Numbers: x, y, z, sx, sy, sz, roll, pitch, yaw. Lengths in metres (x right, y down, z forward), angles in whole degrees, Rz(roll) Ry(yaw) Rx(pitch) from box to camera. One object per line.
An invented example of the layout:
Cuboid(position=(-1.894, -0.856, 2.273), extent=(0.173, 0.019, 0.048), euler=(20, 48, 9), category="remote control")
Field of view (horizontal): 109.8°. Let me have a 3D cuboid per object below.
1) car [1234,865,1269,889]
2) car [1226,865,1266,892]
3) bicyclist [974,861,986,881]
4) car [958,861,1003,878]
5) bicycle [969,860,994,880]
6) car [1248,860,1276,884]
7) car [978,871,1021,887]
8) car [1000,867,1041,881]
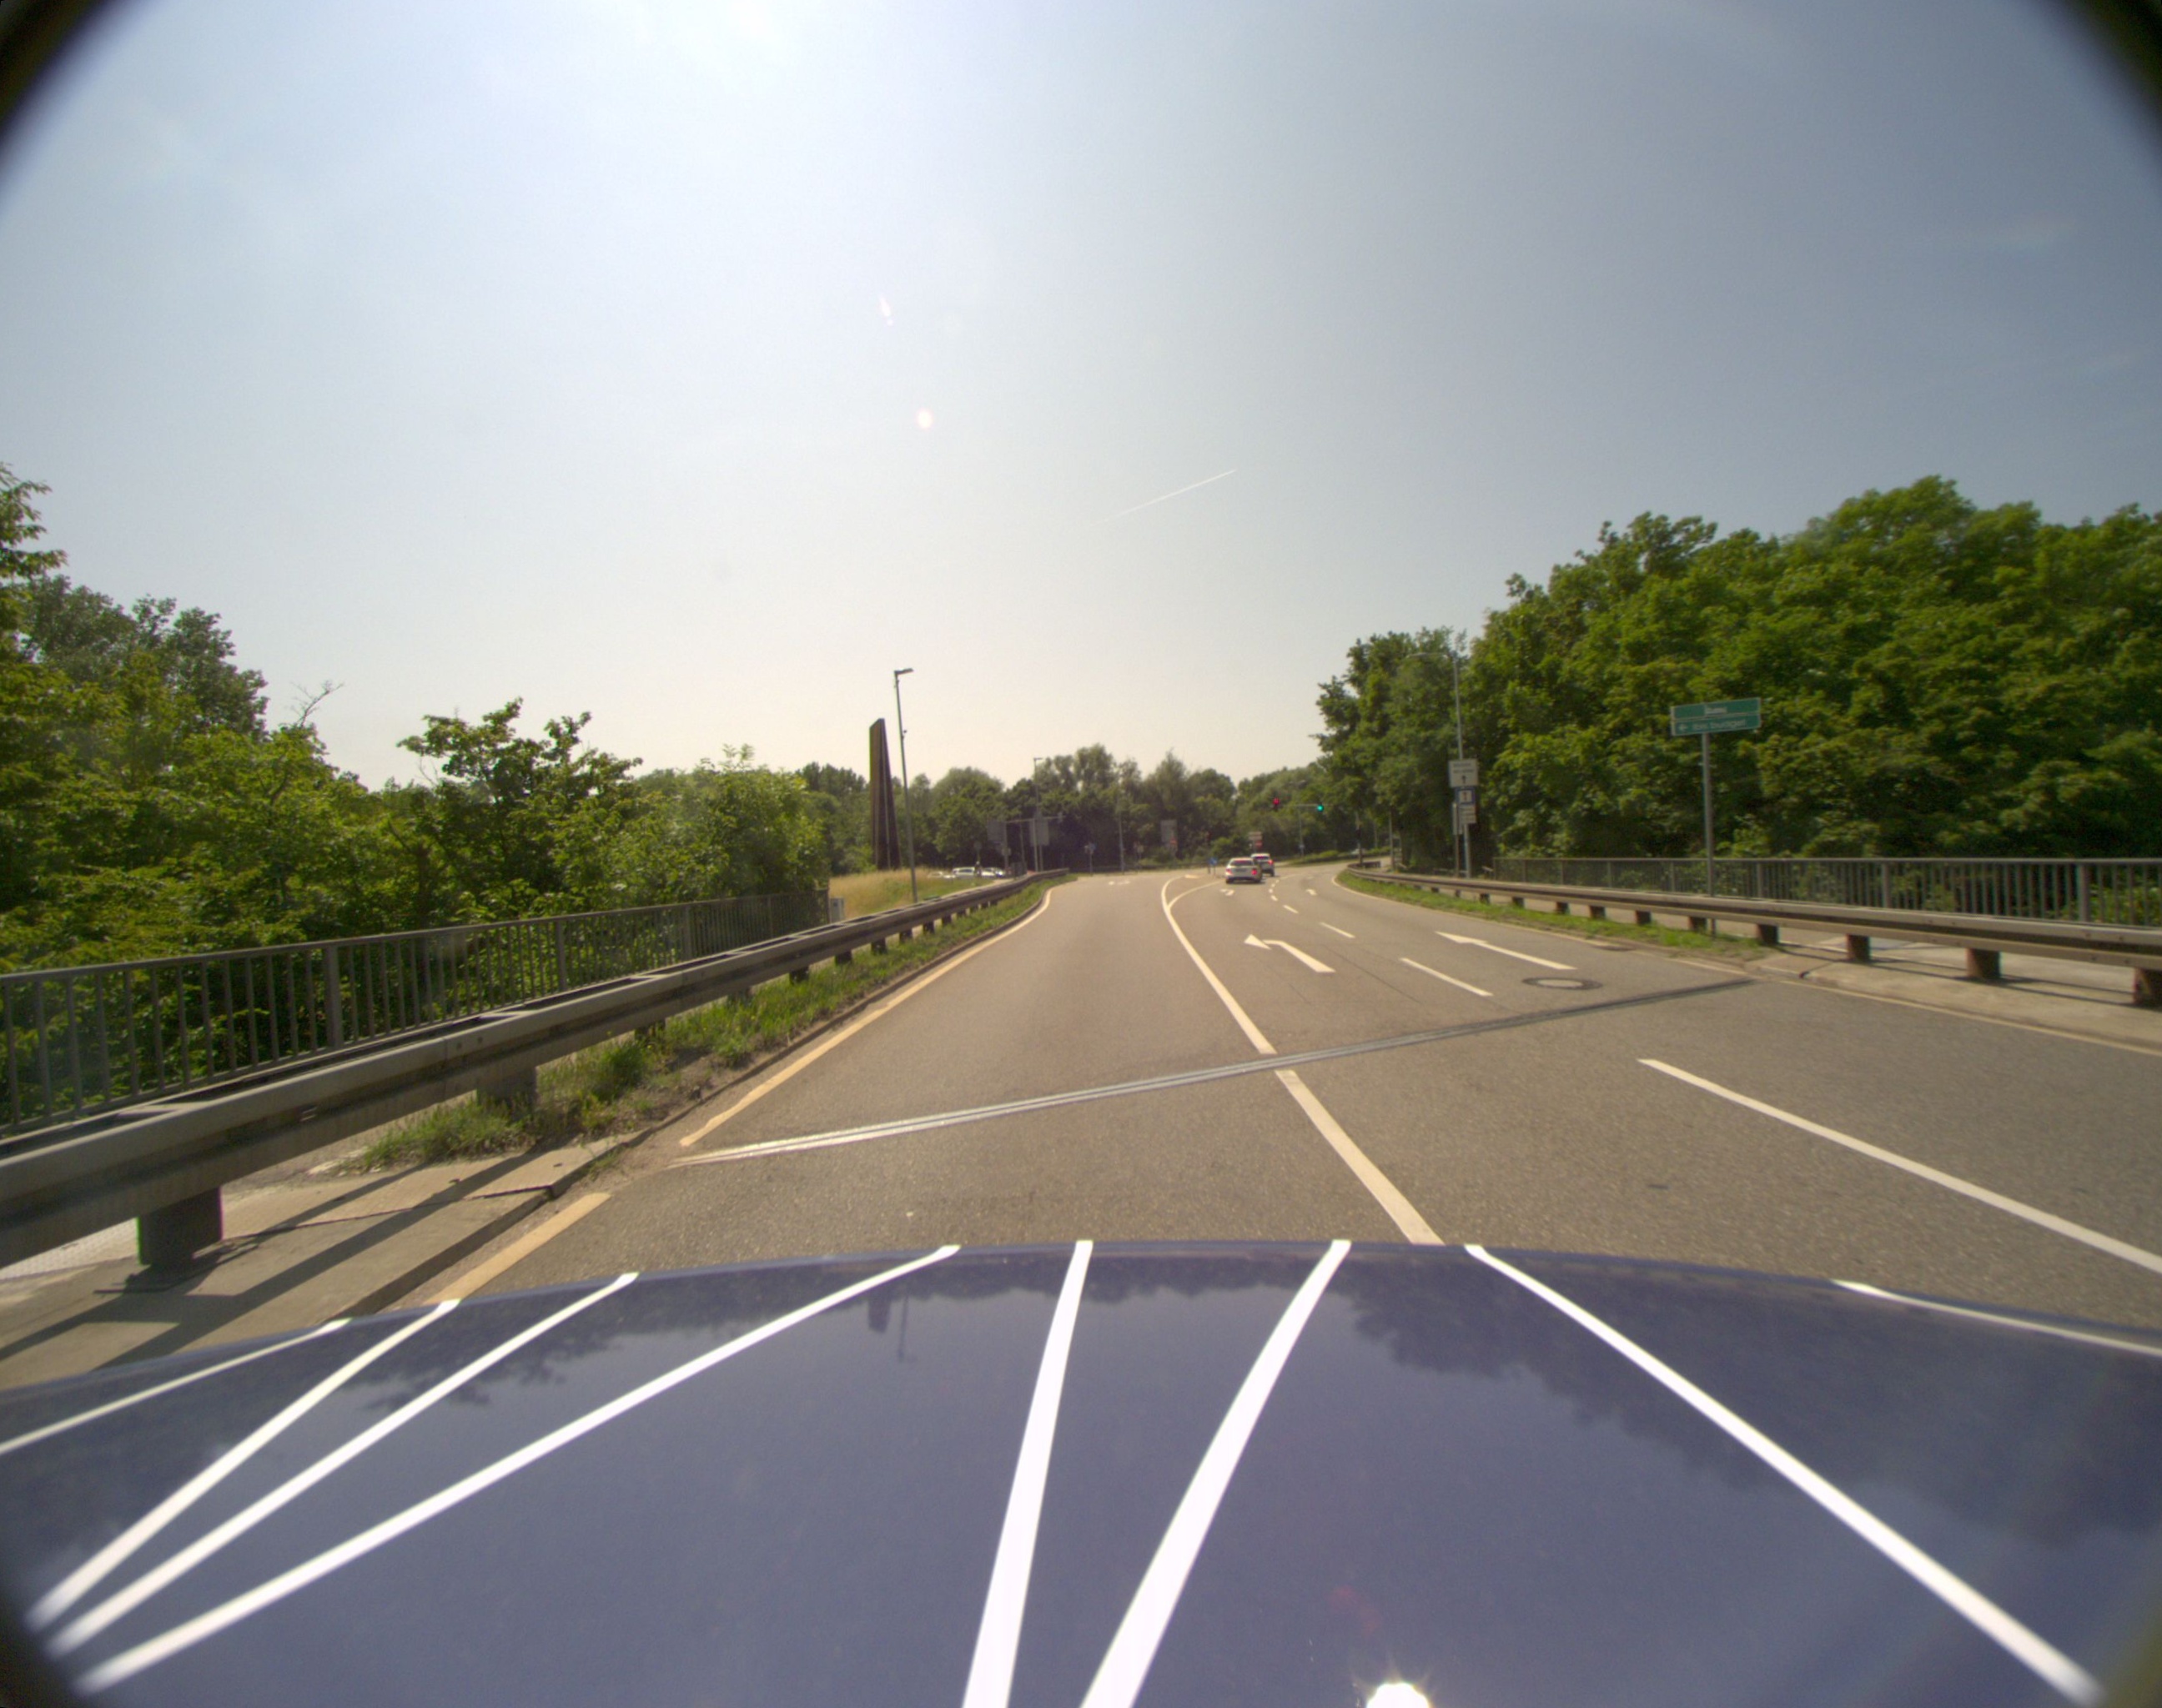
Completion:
Cuboid(position=(10.946, 1.433, 48.600), extent=(1.830, 1.398, 4.552), euler=(-2, -1, 17), category="car")
Cuboid(position=(9.336, 1.344, 42.817), extent=(1.830, 1.398, 4.894), euler=(-1, 0, 17), category="car")
Cuboid(position=(-8.398, 1.387, 63.043), extent=(0.690, 1.589, 0.672), euler=(-3, 0, 41), category="bicyclist")
Cuboid(position=(-9.937, 1.551, 74.860), extent=(4.286, 1.497, 1.872), euler=(-3, -1, 37), category="car")
Cuboid(position=(-8.252, 1.366, 62.910), extent=(2.368, 1.564, 0.658), euler=(-3, -1, 41), category="bicycle")
Cuboid(position=(13.192, 1.305, 55.319), extent=(1.830, 1.629, 4.584), euler=(-1, 0, 15), category="car")
Cuboid(position=(-8.430, 2.571, 78.438), extent=(4.175, 1.415, 1.872), euler=(-3, -1, 37), category="car")
Cuboid(position=(-6.460, 2.145, 80.797), extent=(4.175, 1.346, 1.758), euler=(-3, -1, 37), category="car")
